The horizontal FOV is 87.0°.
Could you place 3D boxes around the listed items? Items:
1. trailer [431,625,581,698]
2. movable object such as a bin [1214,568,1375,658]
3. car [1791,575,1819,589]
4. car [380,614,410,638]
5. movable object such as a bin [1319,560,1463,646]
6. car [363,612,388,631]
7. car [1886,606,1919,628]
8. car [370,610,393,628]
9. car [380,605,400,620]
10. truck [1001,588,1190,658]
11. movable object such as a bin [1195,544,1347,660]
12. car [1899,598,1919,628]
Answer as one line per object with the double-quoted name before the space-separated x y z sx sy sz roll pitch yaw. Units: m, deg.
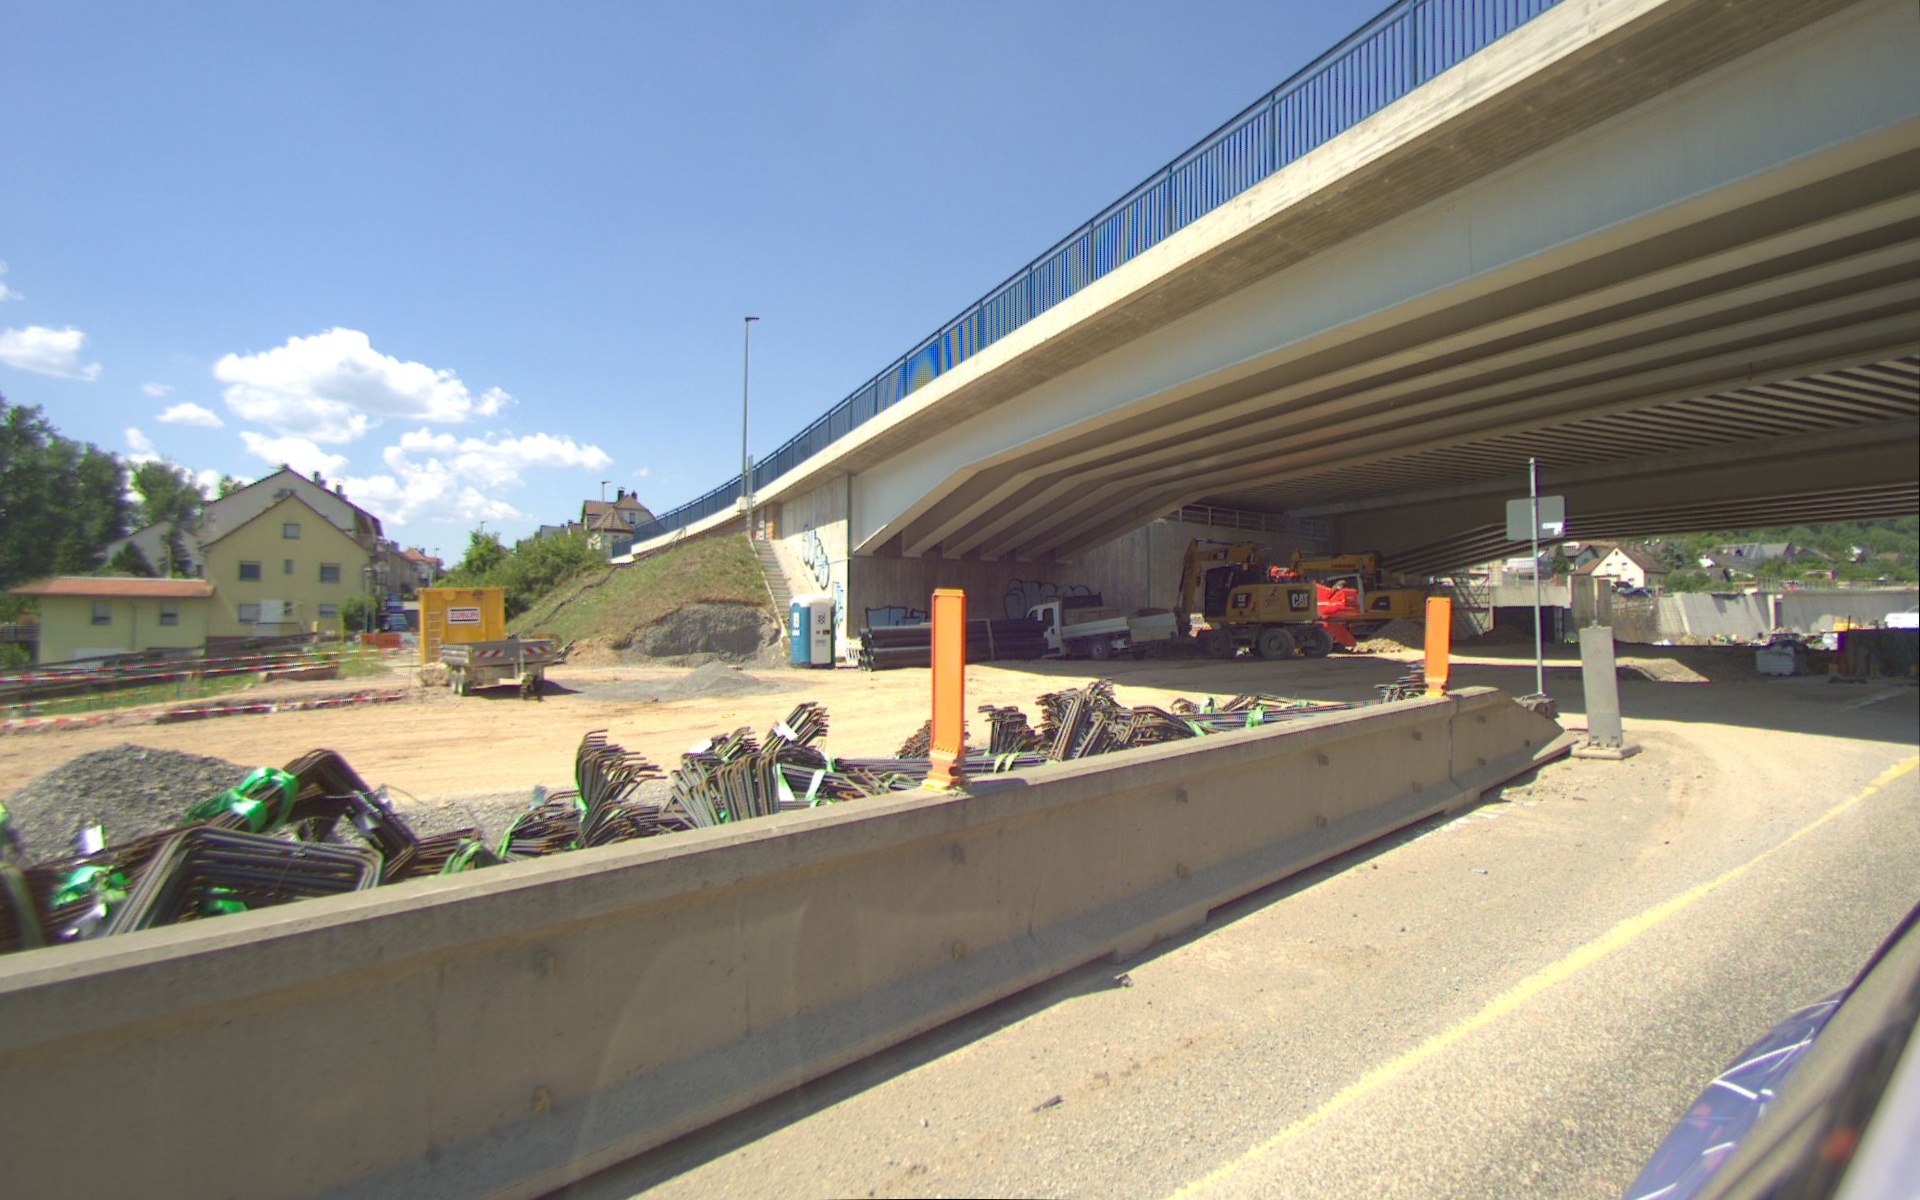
"trailer" -10.122 1.270 22.350 2.018 1.235 4.726 -2 1 -37
"movable object such as a bin" 12.426 0.491 37.935 2.448 3.095 5.257 -2 0 -33
"car" 101.709 -2.172 121.774 4.524 1.623 1.657 -3 1 -38
"car" -40.615 1.836 72.698 1.548 1.527 4.168 -2 1 -34
"movable object such as a bin" 17.983 0.127 42.404 2.933 3.328 4.569 -2 0 -33
"car" -49.539 1.808 85.755 1.548 1.527 4.001 -2 1 -34
"car" 80.486 1.384 84.218 1.688 1.792 4.801 0 -2 -37
"car" -53.258 1.753 93.150 1.548 1.527 4.001 -2 1 -34
"car" -61.785 1.330 109.722 1.548 1.527 4.001 -2 1 -34
"truck" 4.356 0.737 33.955 2.614 2.100 6.543 0 -1 -34
"movable object such as a bin" 10.349 0.066 33.987 2.844 3.587 3.899 -2 0 -26
"car" 85.957 1.003 87.824 6.275 2.615 2.025 -4 -4 40
